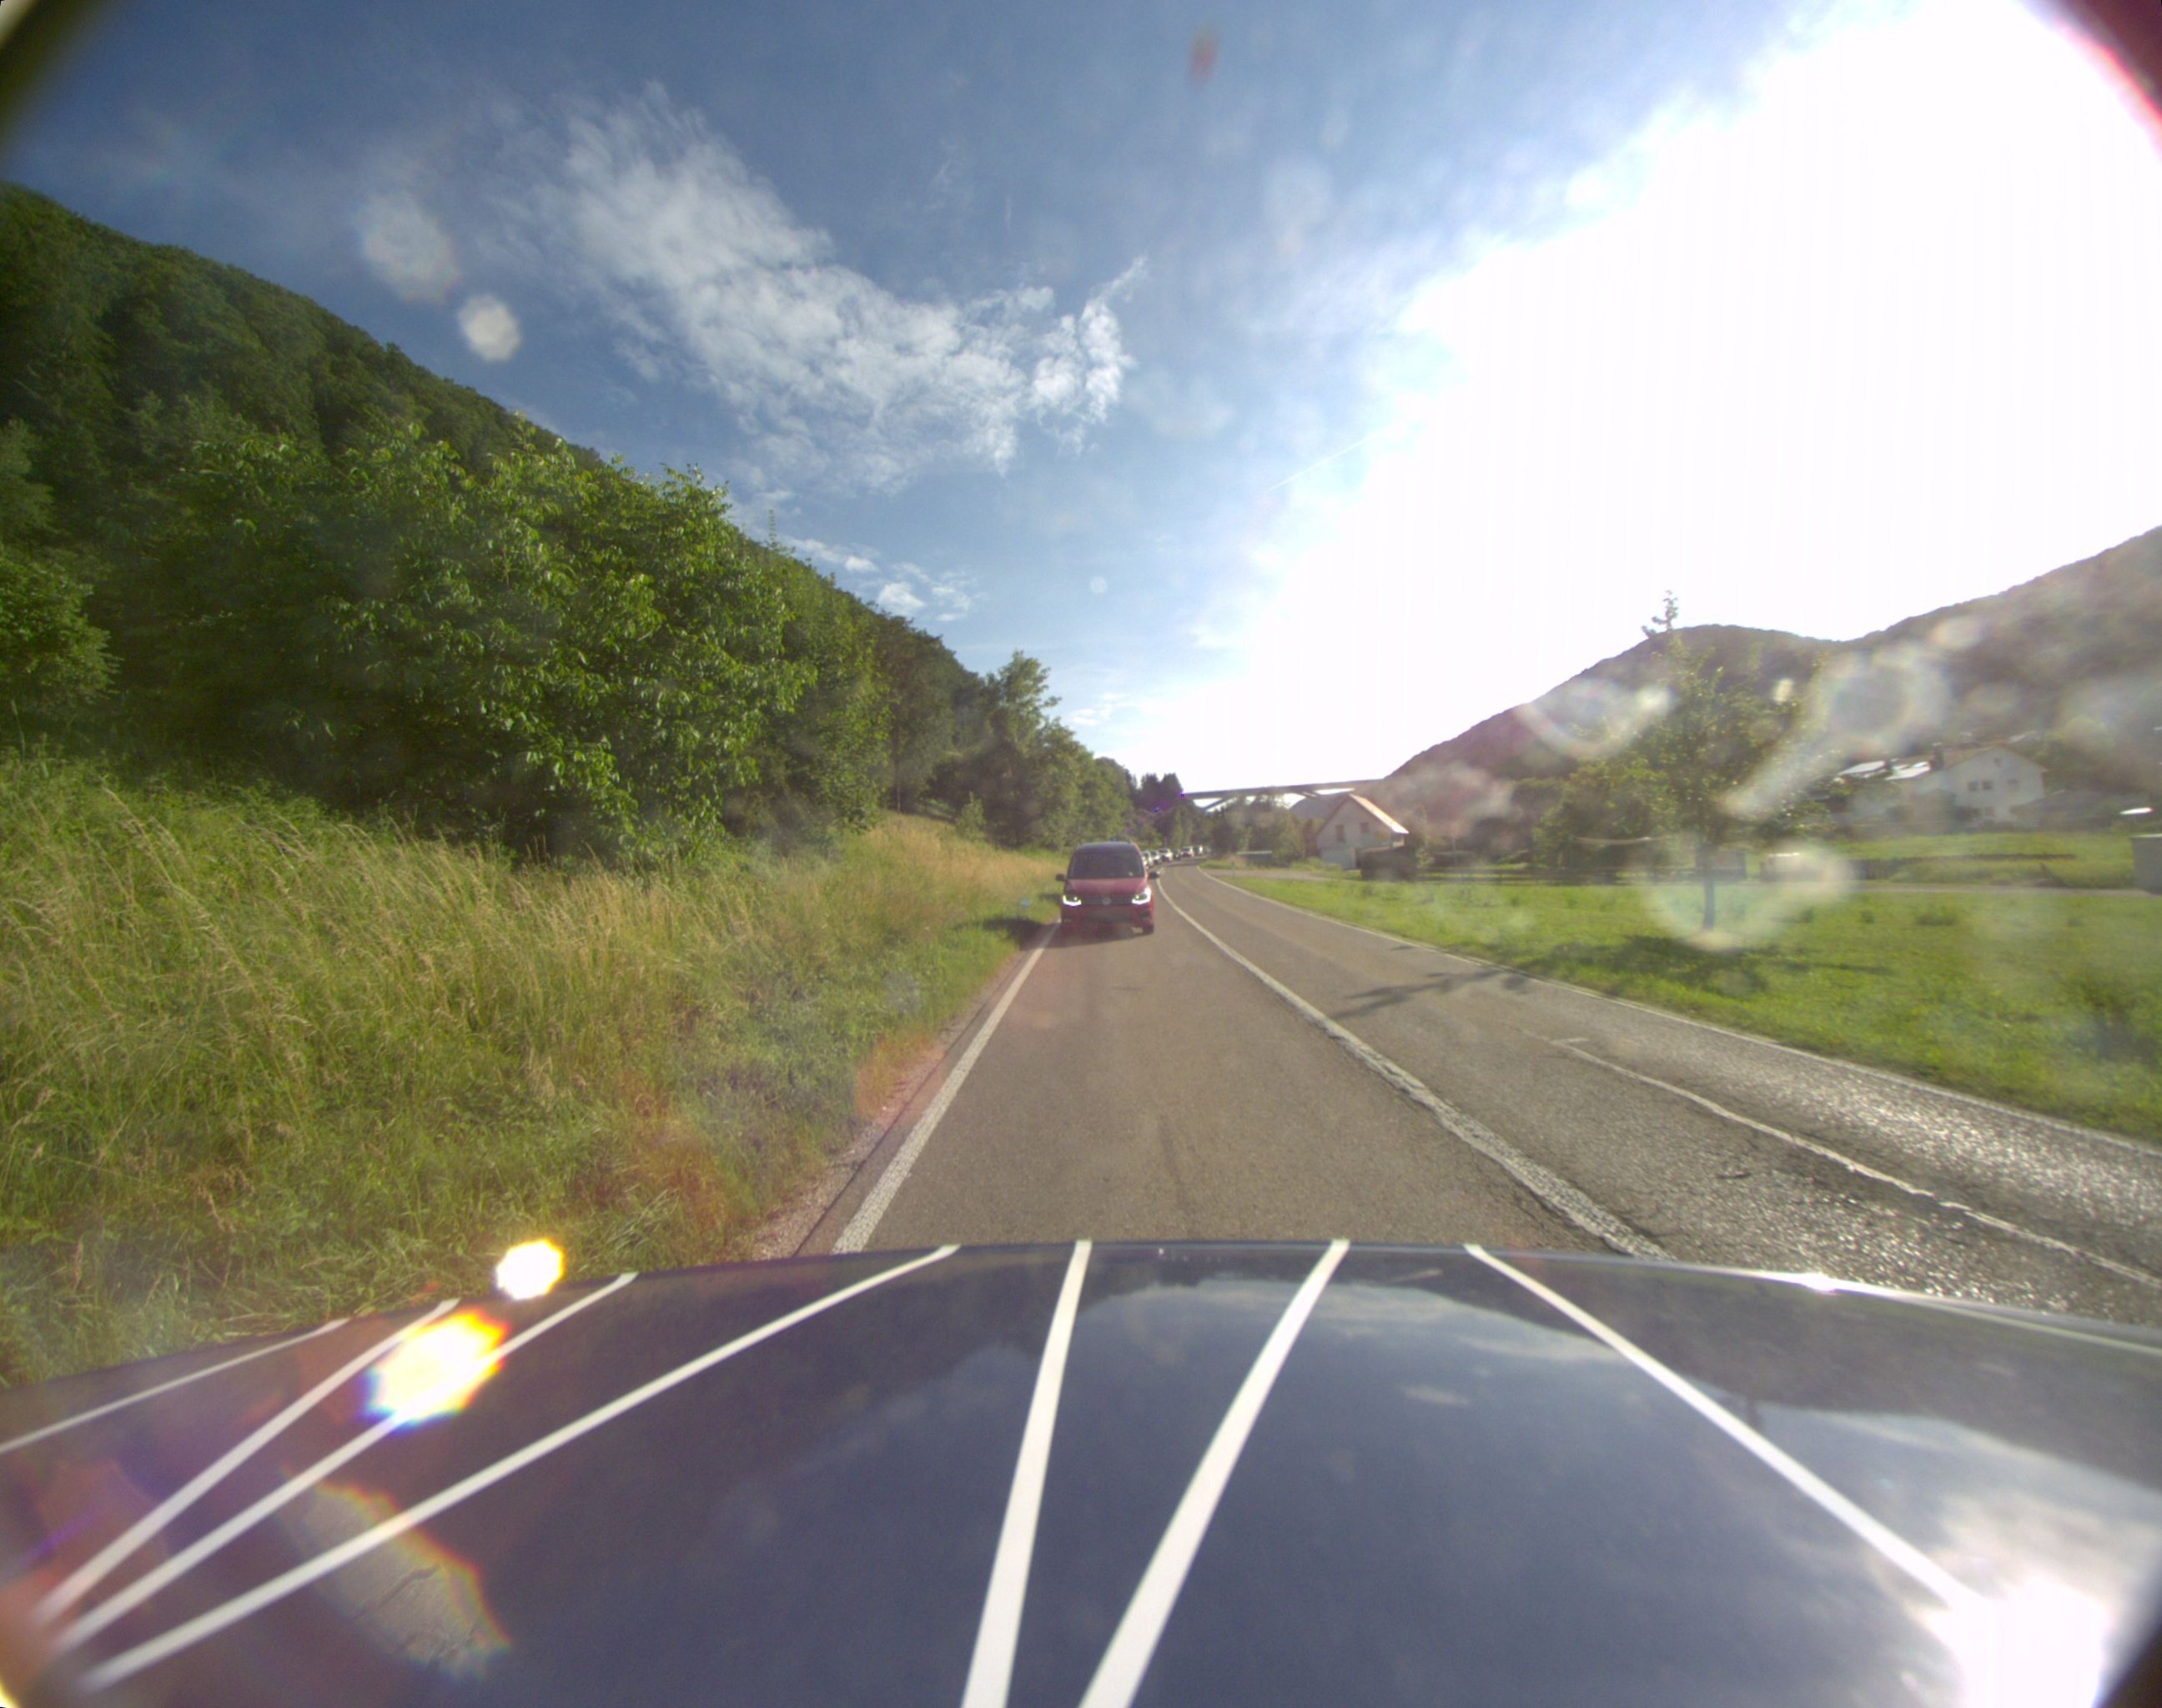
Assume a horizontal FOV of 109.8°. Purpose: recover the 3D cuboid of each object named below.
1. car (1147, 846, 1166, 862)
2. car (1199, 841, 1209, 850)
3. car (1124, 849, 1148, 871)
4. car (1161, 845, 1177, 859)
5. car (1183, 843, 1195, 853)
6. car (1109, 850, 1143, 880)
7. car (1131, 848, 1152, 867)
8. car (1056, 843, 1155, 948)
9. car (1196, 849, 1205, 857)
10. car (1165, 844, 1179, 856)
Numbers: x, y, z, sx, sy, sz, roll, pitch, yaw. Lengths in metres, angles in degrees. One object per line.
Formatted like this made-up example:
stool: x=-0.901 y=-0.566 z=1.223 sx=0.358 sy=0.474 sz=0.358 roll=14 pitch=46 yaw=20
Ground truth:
car: x=7.460 y=0.021 z=75.208 sx=1.630 sy=1.470 sz=3.679 roll=-2 pitch=1 yaw=2
car: x=21.853 y=-1.458 z=135.114 sx=1.629 sy=1.470 sz=3.681 roll=-2 pitch=1 yaw=9
car: x=4.059 y=0.400 z=55.729 sx=1.629 sy=1.470 sz=3.680 roll=-2 pitch=1 yaw=6
car: x=10.292 y=-0.227 z=89.081 sx=1.630 sy=1.470 sz=3.679 roll=-2 pitch=1 yaw=2
car: x=17.065 y=-0.969 z=119.639 sx=1.629 sy=1.470 sz=3.680 roll=-2 pitch=1 yaw=5
car: x=2.479 y=0.573 z=41.443 sx=1.629 sy=1.470 sz=3.680 roll=-2 pitch=1 yaw=6
car: x=5.323 y=0.269 z=66.337 sx=1.629 sy=1.470 sz=3.680 roll=-2 pitch=1 yaw=6
car: x=0.504 y=0.687 z=15.165 sx=1.649 sy=1.762 sz=4.000 roll=-2 pitch=1 yaw=2
car: x=23.235 y=-0.268 z=147.106 sx=1.629 sy=1.470 sz=3.681 roll=-2 pitch=1 yaw=9
car: x=12.443 y=-0.534 z=103.818 sx=1.629 sy=1.470 sz=3.681 roll=-2 pitch=1 yaw=9
